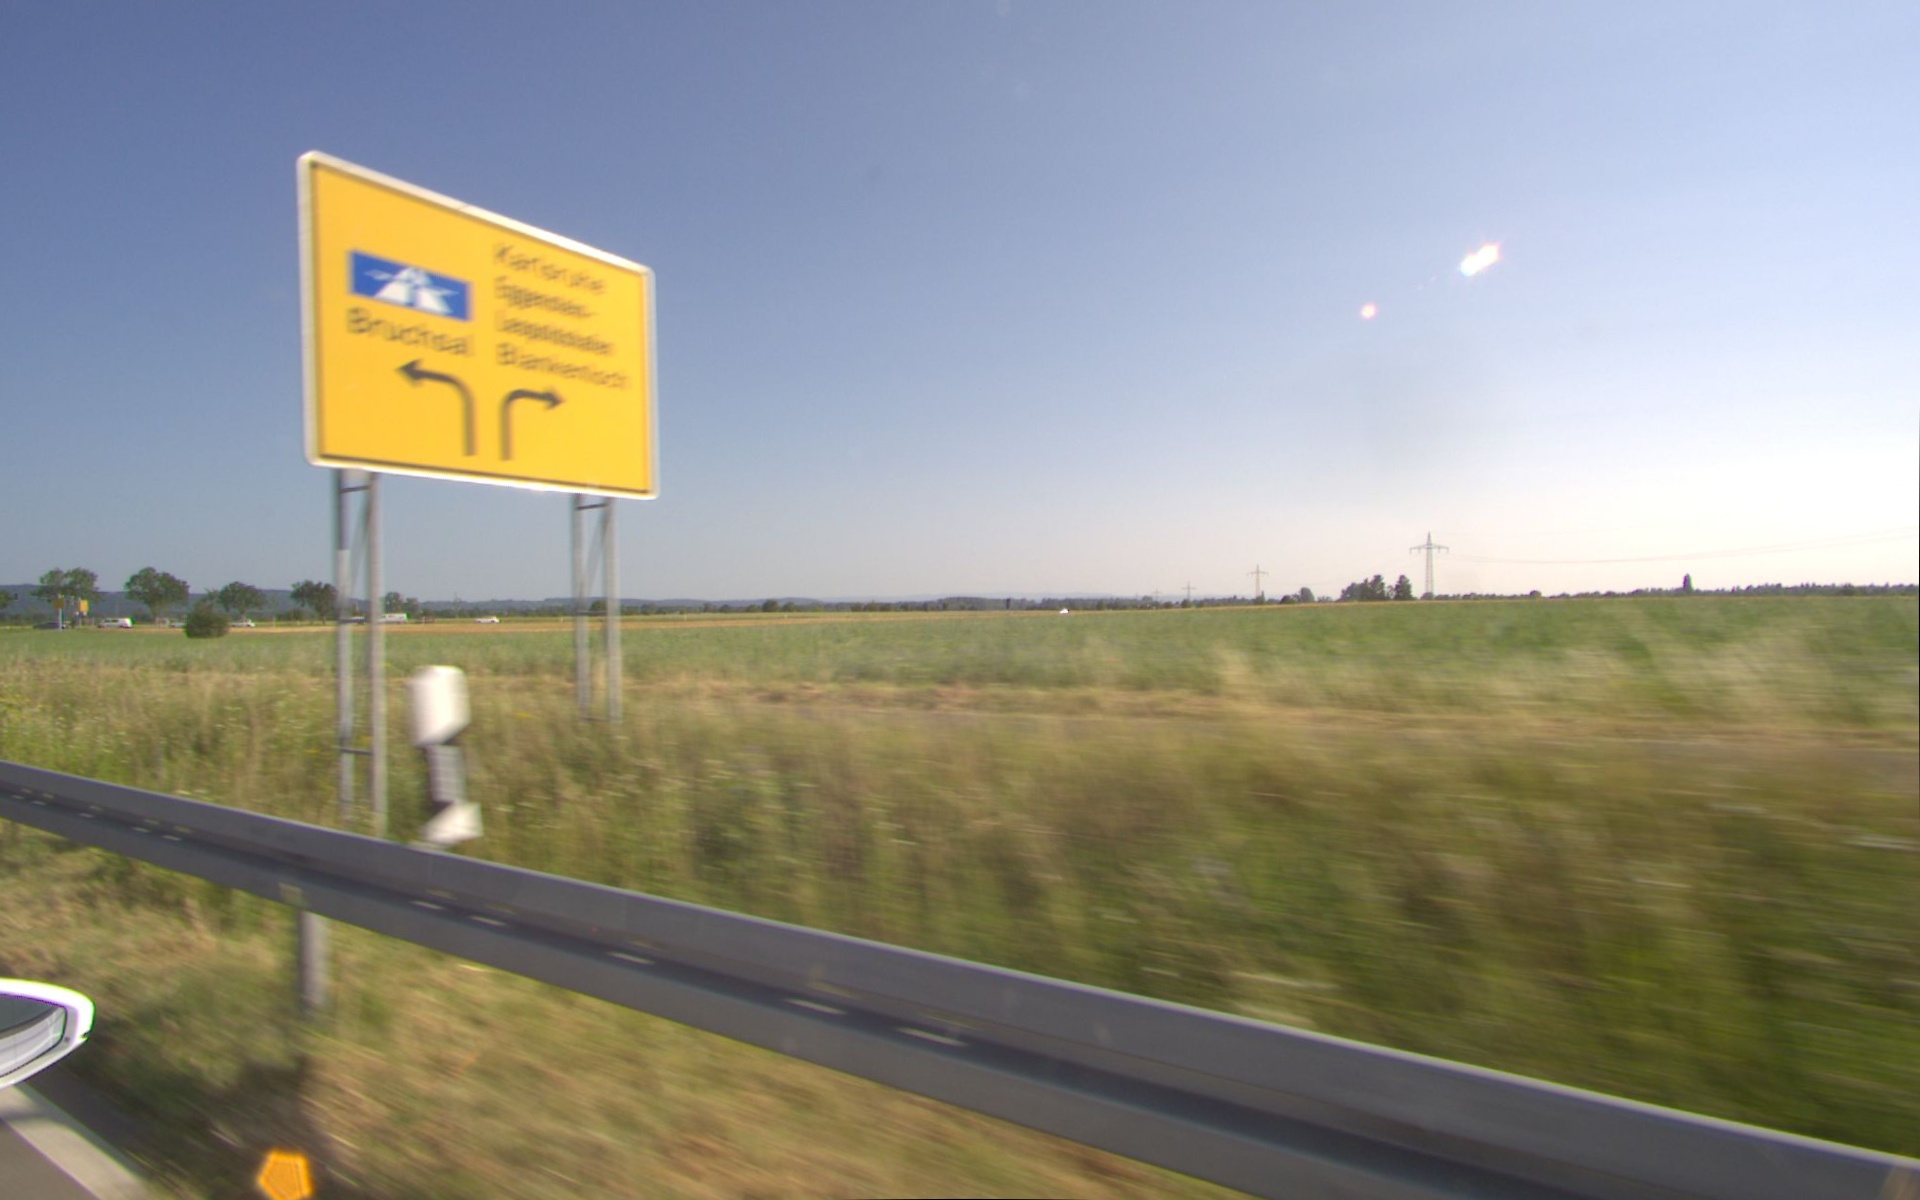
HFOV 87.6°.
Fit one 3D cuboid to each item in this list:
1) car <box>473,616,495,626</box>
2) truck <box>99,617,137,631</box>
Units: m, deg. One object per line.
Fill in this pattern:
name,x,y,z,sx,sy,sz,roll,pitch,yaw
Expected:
car,-99.728,4.359,209.961,3.932,2.040,1.995,-1,-1,-20
truck,-156.941,4.424,186.698,4.978,2.561,1.997,0,-2,-17
